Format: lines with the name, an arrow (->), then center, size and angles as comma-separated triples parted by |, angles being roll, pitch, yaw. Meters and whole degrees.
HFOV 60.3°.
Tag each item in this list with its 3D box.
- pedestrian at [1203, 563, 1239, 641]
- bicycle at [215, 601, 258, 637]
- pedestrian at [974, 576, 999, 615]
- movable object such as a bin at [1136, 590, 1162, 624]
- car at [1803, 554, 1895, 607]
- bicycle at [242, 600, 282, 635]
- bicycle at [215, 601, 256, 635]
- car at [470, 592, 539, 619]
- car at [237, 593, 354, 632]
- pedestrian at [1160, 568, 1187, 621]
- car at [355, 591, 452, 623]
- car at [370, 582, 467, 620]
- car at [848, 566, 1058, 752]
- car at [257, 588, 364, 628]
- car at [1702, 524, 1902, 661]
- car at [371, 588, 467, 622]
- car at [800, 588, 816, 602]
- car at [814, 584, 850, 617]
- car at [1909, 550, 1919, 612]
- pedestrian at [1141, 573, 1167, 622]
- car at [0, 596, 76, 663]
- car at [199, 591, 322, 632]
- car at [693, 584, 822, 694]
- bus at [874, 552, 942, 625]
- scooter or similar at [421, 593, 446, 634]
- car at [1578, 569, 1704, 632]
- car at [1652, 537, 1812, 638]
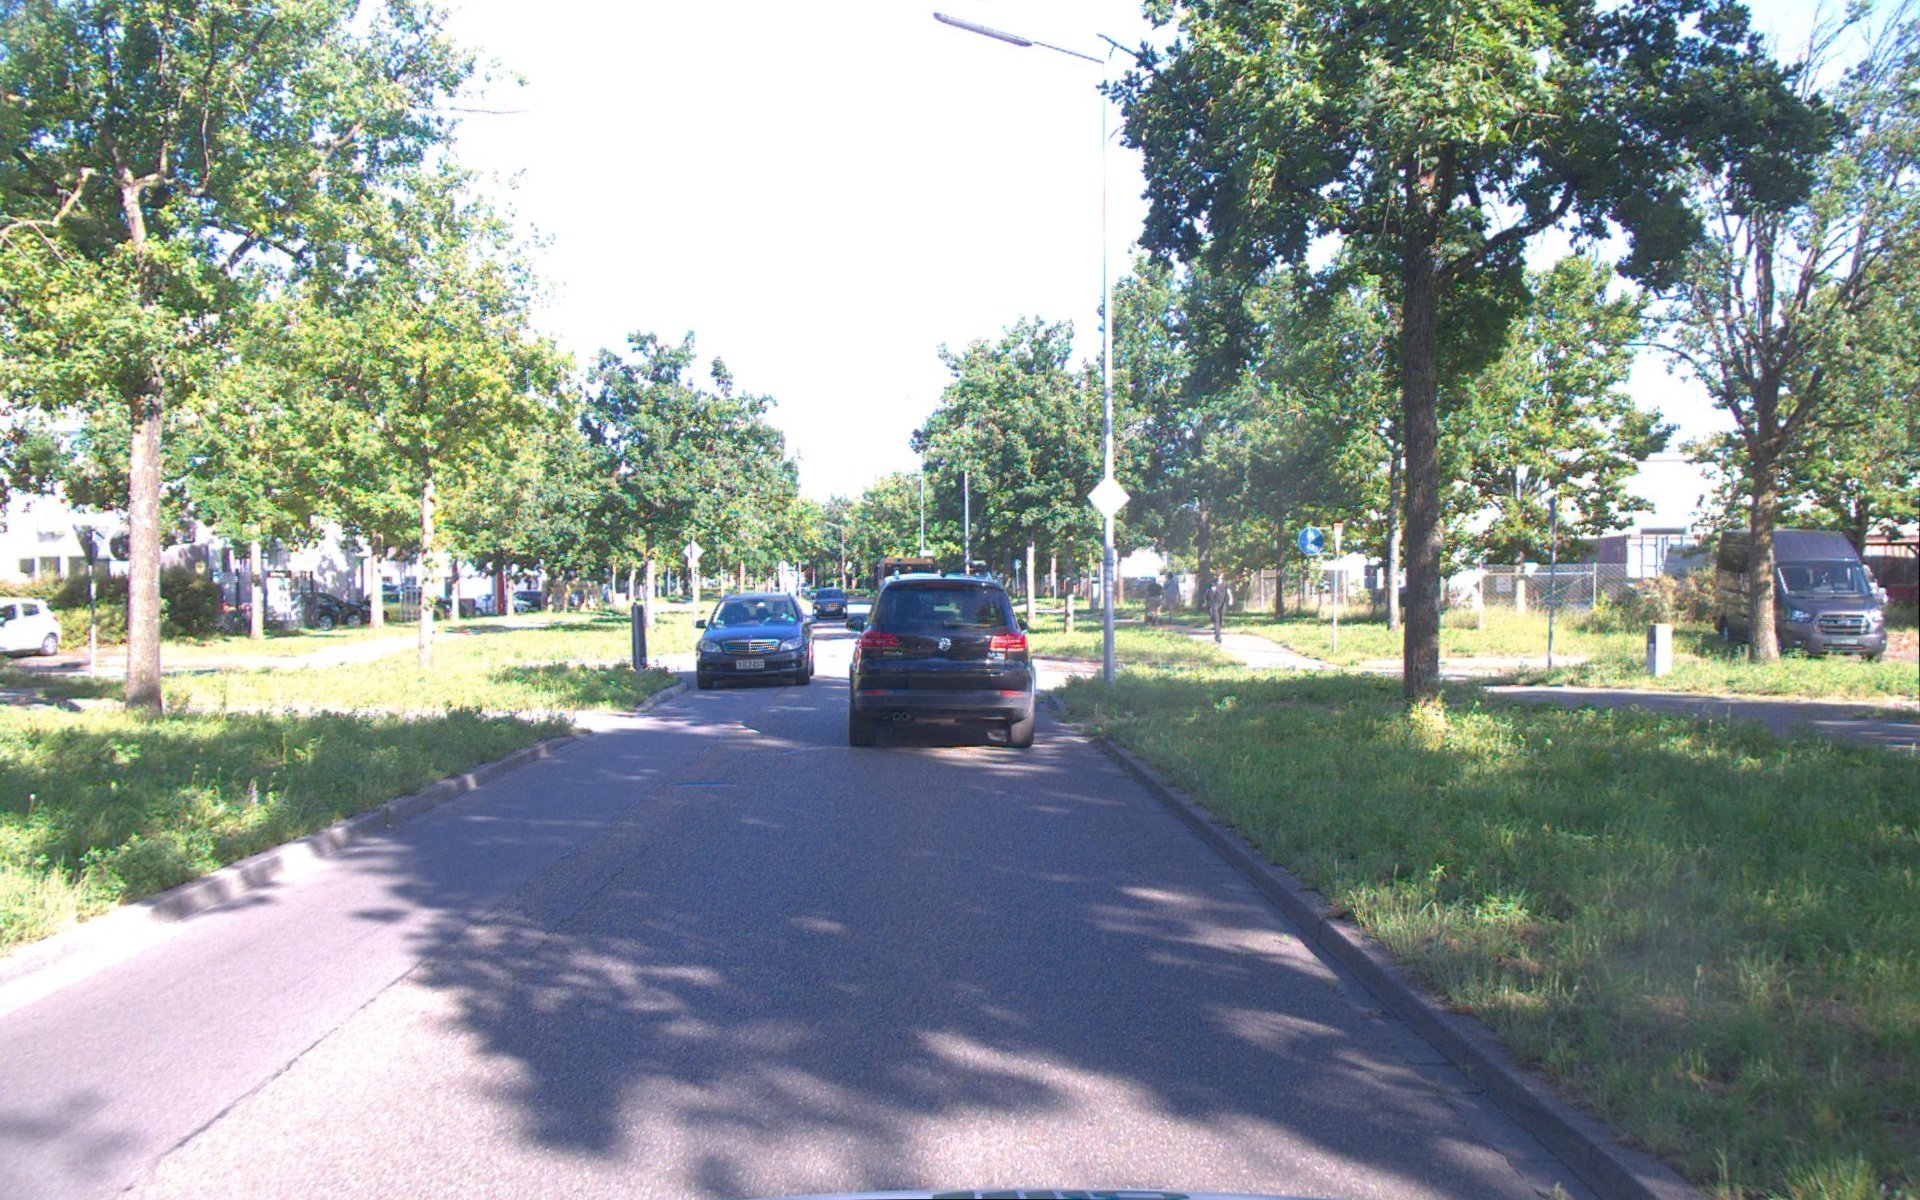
pedestrian -> 6.390, 0.042, 40.567 | 0.711, 1.843, 0.867 | -1, 3, -3
bicycle -> -23.661, 0.611, 54.110 | 0.626, 1.106, 1.890 | -1, 1, -3
pedestrian -> 1.166, -0.192, 73.060 | 0.999, 1.680, 1.099 | -1, 0, -3
movable object such as a bin -> 6.490, 0.234, 56.734 | 0.711, 1.100, 0.867 | -2, 0, -3
car -> 29.600, -0.653, 55.208 | 1.796, 1.668, 4.003 | -1, 0, 15
bicycle -> -23.423, 0.582, 55.532 | 0.626, 1.106, 1.890 | -1, 1, -3
bicycle -> -24.412, 0.607, 55.785 | 0.626, 1.106, 1.890 | -1, 1, -3
car -> -28.719, 0.313, 104.354 | 3.662, 1.646, 1.965 | -1, 0, 12
car -> -26.646, 0.487, 66.391 | 1.771, 1.474, 3.973 | 0, 1, 44
pedestrian -> 7.368, -0.195, 57.031 | 0.711, 1.785, 0.867 | -3, 0, -3
car -> -26.423, 0.312, 78.634 | 3.924, 1.426, 1.967 | -1, 1, -45
car -> -30.428, 0.038, 93.073 | 4.823, 2.049, 1.967 | -1, 1, -45
car -> -0.170, 0.509, 17.349 | 1.897, 1.685, 4.425 | 1, 1, -3
car -> -27.210, 0.299, 69.310 | 3.949, 1.537, 1.782 | -1, 2, -32
car -> 18.058, -0.282, 35.831 | 2.040, 2.610, 5.979 | 1, 3, 9
car -> -26.729, 0.242, 81.826 | 4.139, 1.565, 1.865 | -1, 1, -45
car -> -18.111, -0.616, 197.477 | 1.709, 1.490, 4.425 | -1, 1, -2
car -> -6.565, 0.020, 84.913 | 1.769, 1.563, 4.492 | -2, 1, -4
car -> 33.908, -0.532, 55.345 | 2.040, 2.097, 5.019 | 1, 3, 9
pedestrian -> 6.555, -0.089, 55.853 | 0.711, 1.631, 0.867 | -1, 0, -3
car -> -24.745, 0.764, 42.093 | 1.951, 1.530, 3.922 | -1, 3, 9
car -> -26.504, 0.412, 62.751 | 1.767, 1.474, 3.980 | 0, 1, 39
car -> -3.231, 0.566, 27.151 | 1.730, 1.555, 4.493 | -2, 1, -3
bus -> -2.801, -0.637, 85.375 | 2.711, 3.517, 11.197 | -1, 1, -6
scooter or similar -> -17.076, 0.423, 53.688 | 0.387, 1.301, 1.440 | -1, 0, -2
car -> 19.249, -0.013, 46.905 | 1.965, 1.693, 3.595 | -1, 1, -2
car -> 21.791, -0.364, 46.948 | 2.117, 2.689, 4.849 | -1, 1, -2
